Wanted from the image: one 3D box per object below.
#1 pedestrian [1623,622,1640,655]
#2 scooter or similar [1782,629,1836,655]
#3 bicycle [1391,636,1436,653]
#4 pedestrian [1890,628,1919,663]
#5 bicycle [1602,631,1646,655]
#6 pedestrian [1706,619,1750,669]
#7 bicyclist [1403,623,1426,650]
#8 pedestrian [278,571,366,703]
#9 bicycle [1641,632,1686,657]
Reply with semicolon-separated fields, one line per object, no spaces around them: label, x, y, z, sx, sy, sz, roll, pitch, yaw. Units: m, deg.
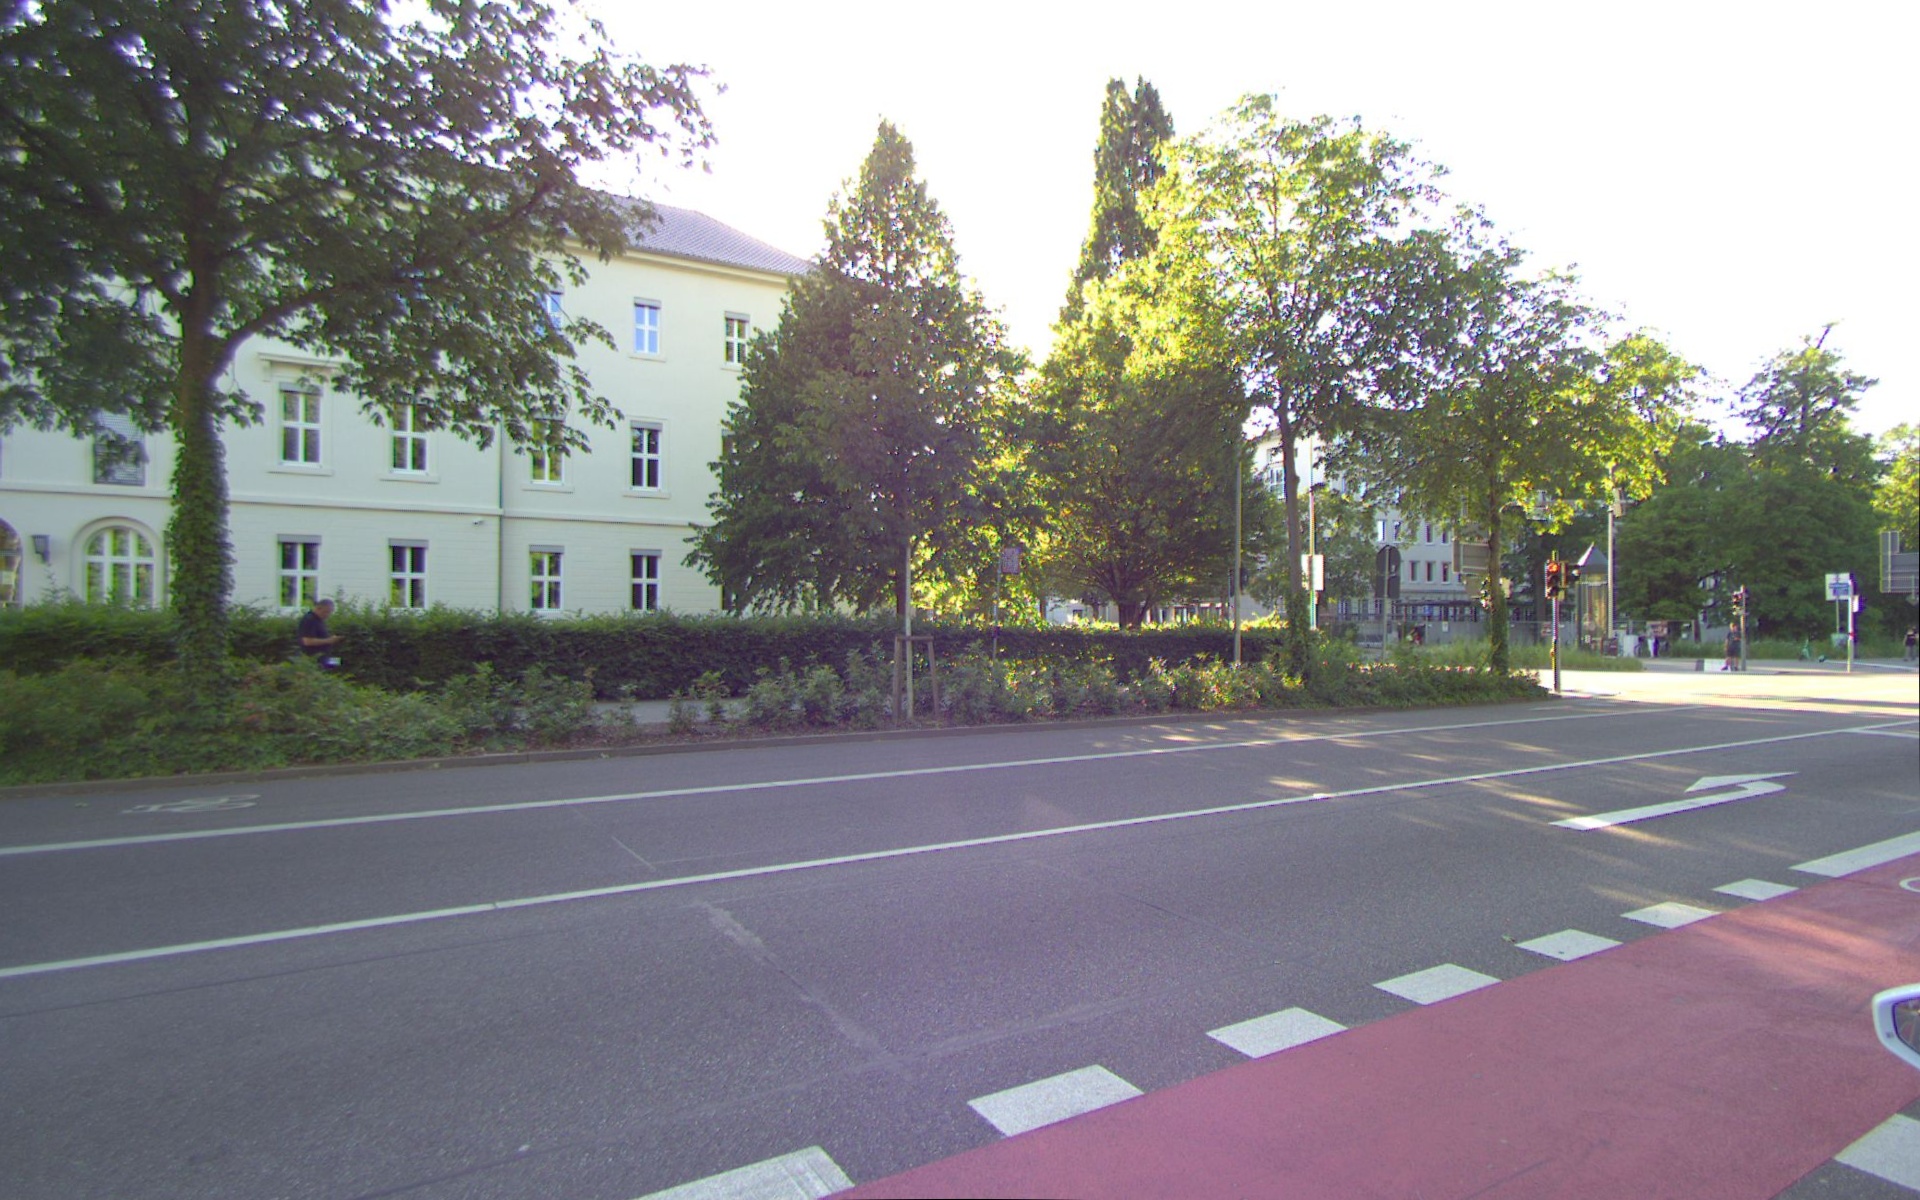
pedestrian;34.215;1.942;51.170;0.442;1.664;0.624;1;0;-39
scooter or similar;39.381;1.937;46.598;1.882;1.139;0.713;1;0;3
bicycle;27.713;2.729;61.403;0.574;1.002;2.695;1;-2;-28
pedestrian;44.679;2.124;47.314;0.992;1.624;1.080;1;-2;-36
bicycle;34.193;2.189;51.770;0.438;1.163;1.849;1;-1;-36
pedestrian;31.856;1.807;41.684;1.175;2.040;0.992;1;0;-25
bicyclist;27.759;2.222;61.326;0.867;1.627;0.970;1;-2;-29
pedestrian;-8.797;0.508;13.889;0.956;1.743;0.831;1;-2;-29
bicycle;34.933;2.201;49.911;0.288;1.163;1.849;1;-1;-36
